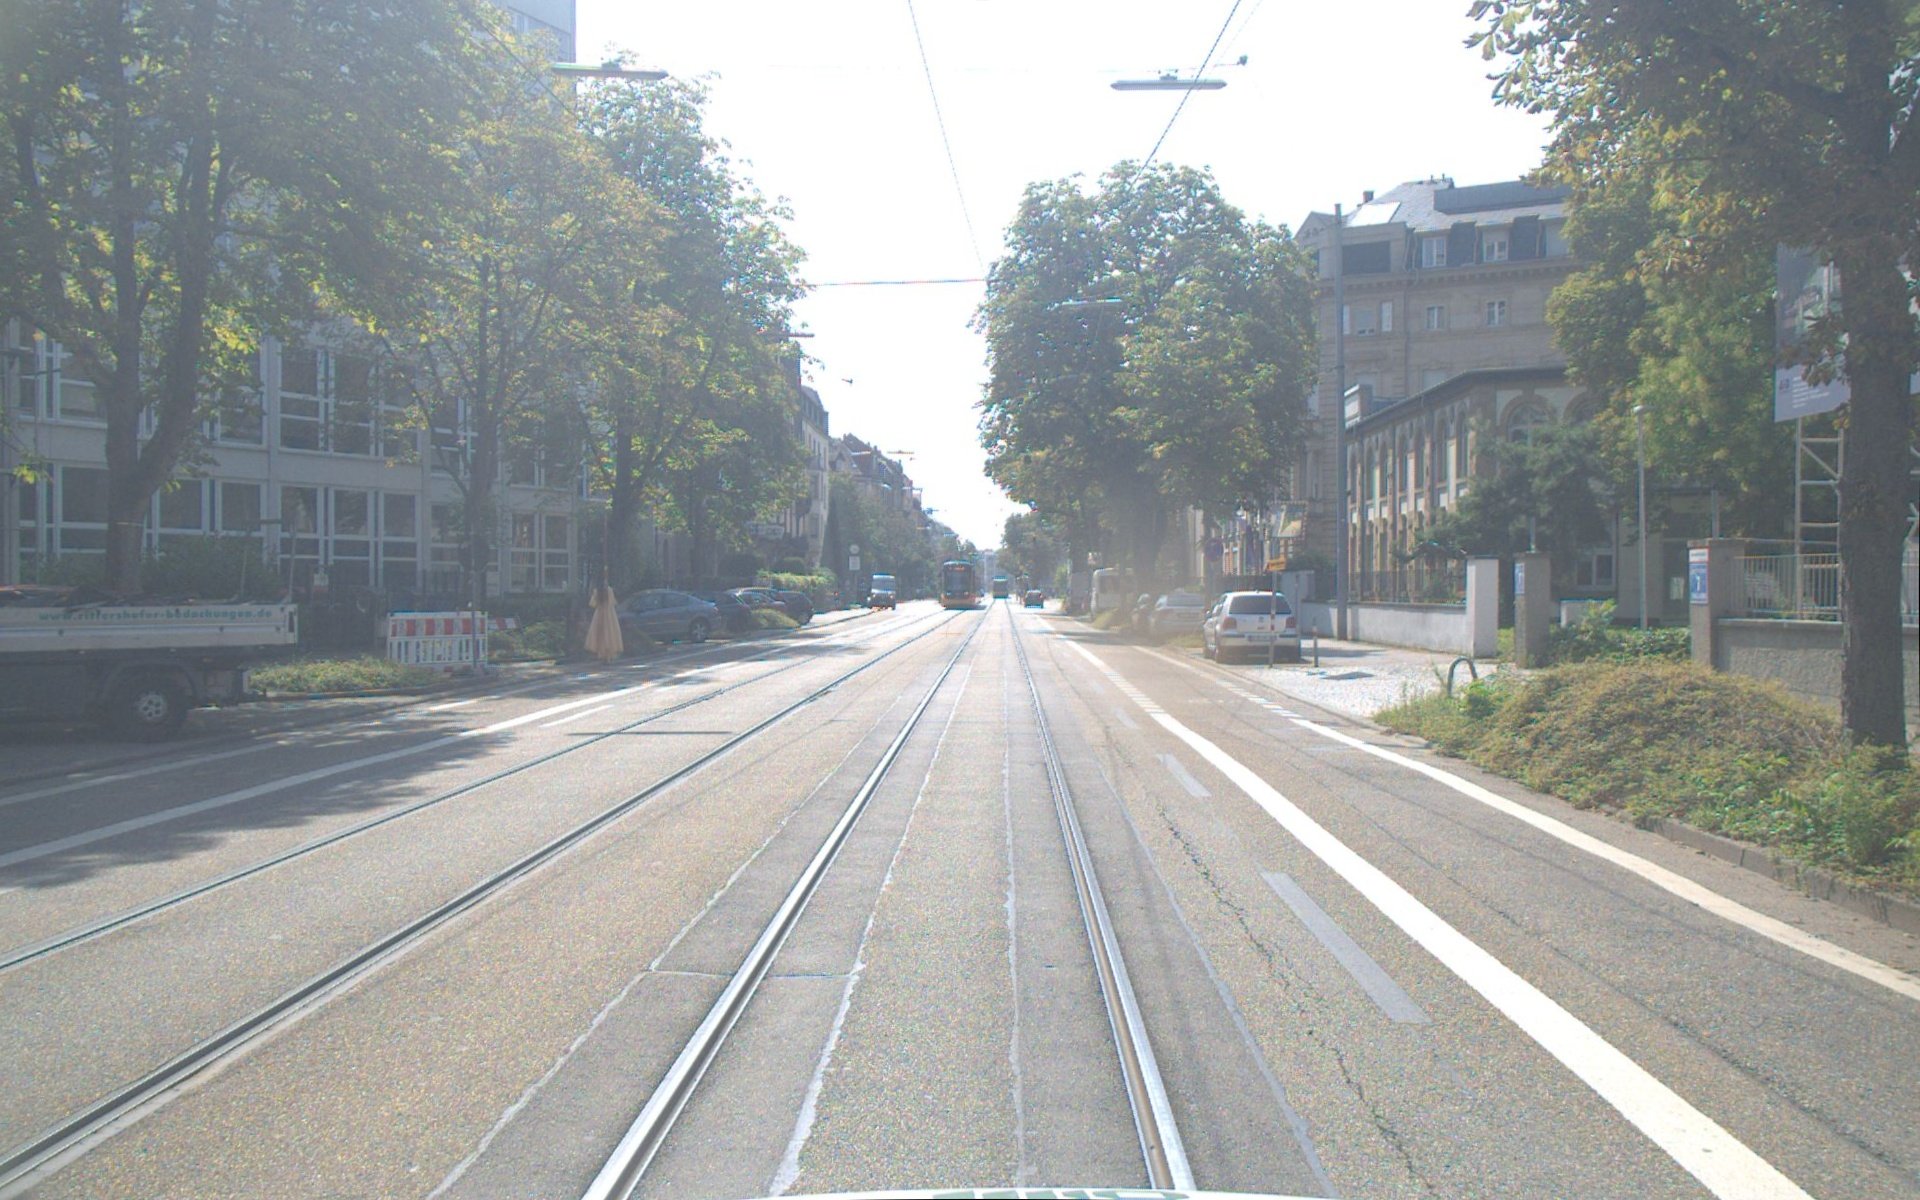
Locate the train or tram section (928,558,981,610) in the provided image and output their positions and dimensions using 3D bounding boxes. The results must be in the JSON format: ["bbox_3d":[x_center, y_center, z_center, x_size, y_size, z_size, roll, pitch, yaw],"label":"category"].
[{"bbox_3d":[-0.317,-1.258,126.050,3.424,3.769,12.416,0,1,2],"label":"train or tram section"}]

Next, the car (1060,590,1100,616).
[{"bbox_3d":[6.944,0.153,95.921,1.953,1.422,3.999,0,0,-1],"label":"car"}]

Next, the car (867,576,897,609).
[{"bbox_3d":[-5.925,-0.565,126.105,2.197,2.484,3.998,0,0,-2],"label":"car"}]

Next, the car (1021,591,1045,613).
[{"bbox_3d":[6.307,0.148,142.897,1.952,1.832,4.001,1,0,2],"label":"car"}]

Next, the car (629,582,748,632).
[{"bbox_3d":[-8.927,0.233,54.448,3.553,1.602,1.652,0,0,-40],"label":"car"}]

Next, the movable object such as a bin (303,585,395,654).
[{"bbox_3d":[-14.381,0.453,38.962,1.648,1.586,1.354,-1,0,0],"label":"movable object such as a bin"}]

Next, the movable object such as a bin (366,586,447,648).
[{"bbox_3d":[-14.572,0.444,43.607,1.648,1.586,1.354,-1,0,0],"label":"movable object such as a bin"}]

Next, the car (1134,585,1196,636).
[{"bbox_3d":[6.684,0.308,54.270,1.756,1.604,4.002,0,0,3],"label":"car"}]

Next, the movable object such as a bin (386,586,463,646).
[{"bbox_3d":[-14.576,0.433,45.083,1.648,1.586,1.354,-1,0,0],"label":"movable object such as a bin"}]

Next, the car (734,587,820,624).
[{"bbox_3d":[-8.198,0.238,74.342,3.553,1.602,1.652,0,0,-40],"label":"car"}]

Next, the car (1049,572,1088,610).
[{"bbox_3d":[6.768,-0.567,103.325,1.954,2.272,3.997,0,0,-3],"label":"car"}]

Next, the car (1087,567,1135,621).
[{"bbox_3d":[6.902,-0.287,76.002,1.952,2.407,4.001,1,0,2],"label":"car"}]

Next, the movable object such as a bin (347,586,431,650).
[{"bbox_3d":[-14.494,0.450,42.048,1.648,1.586,1.354,-1,0,0],"label":"movable object such as a bin"}]

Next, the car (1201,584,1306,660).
[{"bbox_3d":[6.083,0.432,34.615,1.754,1.471,3.734,-1,0,4],"label":"car"}]

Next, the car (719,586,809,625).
[{"bbox_3d":[-8.432,0.235,71.271,3.553,1.602,1.652,0,0,-40],"label":"car"}]

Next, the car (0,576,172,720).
[{"bbox_3d":[-10.879,0.518,18.036,3.828,1.534,1.694,-1,0,-43],"label":"car"}]

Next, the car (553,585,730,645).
[{"bbox_3d":[-8.660,0.364,45.221,1.648,1.477,4.656,0,2,44],"label":"car"}]

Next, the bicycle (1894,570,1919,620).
[{"bbox_3d":[25.954,-0.137,45.122,0.755,1.325,2.520,0,0,32],"label":"bicycle"}]

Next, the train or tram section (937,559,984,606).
[{"bbox_3d":[0.145,-1.474,138.453,3.424,3.769,12.416,0,1,2],"label":"train or tram section"}]

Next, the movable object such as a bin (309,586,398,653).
[{"bbox_3d":[-14.789,0.458,40.405,1.648,1.586,1.354,-1,0,0],"label":"movable object such as a bin"}]

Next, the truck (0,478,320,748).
[{"bbox_3d":[-9.524,0.119,15.984,5.907,2.477,2.122,-1,0,-38],"label":"truck"}]

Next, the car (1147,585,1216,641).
[{"bbox_3d":[6.428,0.366,48.279,1.607,1.538,3.642,0,0,2],"label":"car"}]
